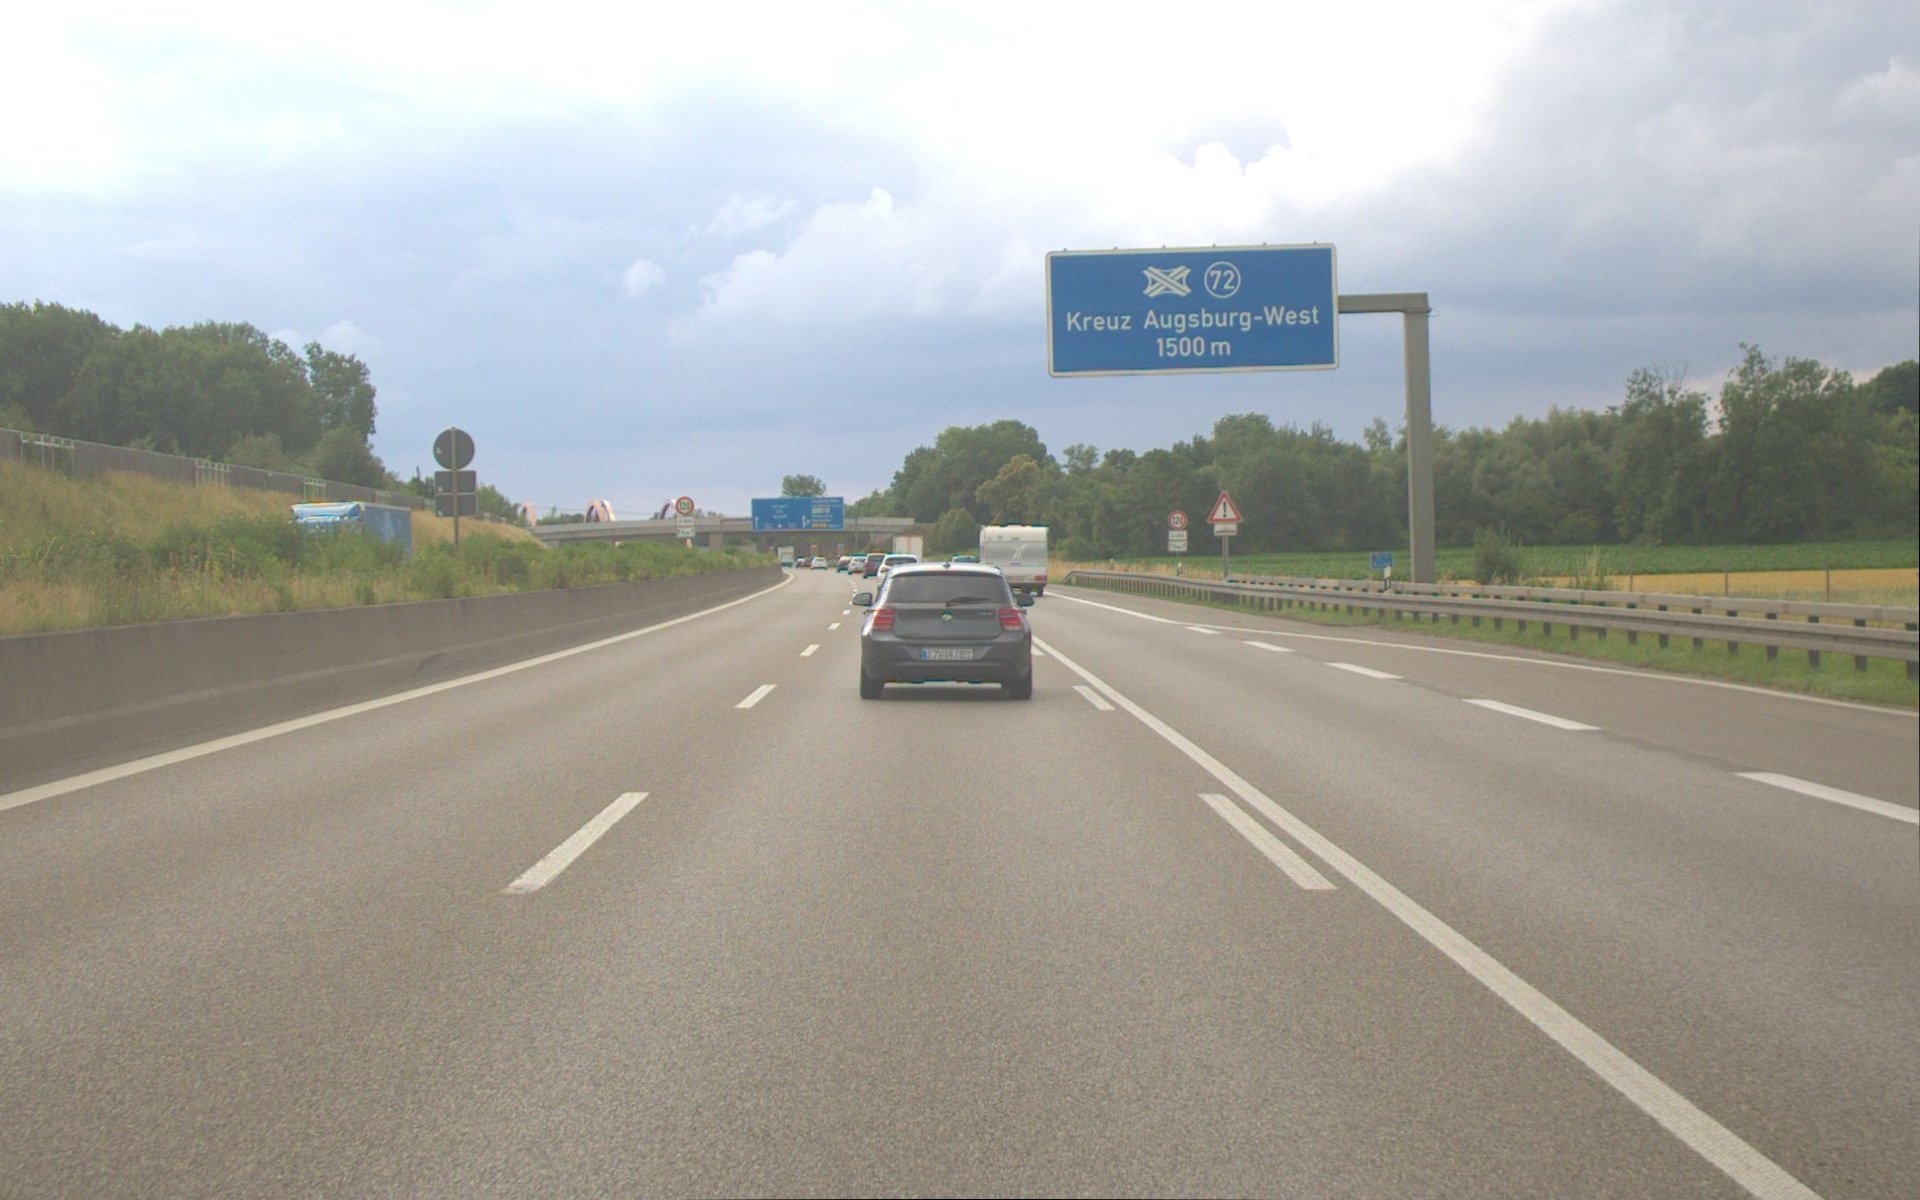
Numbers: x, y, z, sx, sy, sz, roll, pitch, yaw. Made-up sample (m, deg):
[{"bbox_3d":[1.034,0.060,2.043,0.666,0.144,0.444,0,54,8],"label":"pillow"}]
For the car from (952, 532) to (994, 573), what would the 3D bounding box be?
[{"bbox_3d":[0.640,-2.438,174.591,1.993,2.007,4.000,-1,1,-1],"label":"car"}]

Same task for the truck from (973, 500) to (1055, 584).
[{"bbox_3d":[1.927,-2.164,127.845,2.710,2.954,12.448,1,1,-1],"label":"truck"}]

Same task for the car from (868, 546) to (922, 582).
[{"bbox_3d":[-2.456,-1.376,130.119,1.993,1.293,4.000,-1,1,-1],"label":"car"}]

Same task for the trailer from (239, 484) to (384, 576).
[{"bbox_3d":[-22.391,-2.413,119.359,2.938,3.001,11.618,1,1,-1],"label":"trailer"}]

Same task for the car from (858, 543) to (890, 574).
[{"bbox_3d":[-5.601,-2.729,224.608,1.993,2.007,4.000,-1,1,-1],"label":"car"}]

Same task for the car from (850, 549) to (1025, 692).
[{"bbox_3d":[-0.233,0.175,36.404,1.743,1.384,4.000,0,1,0],"label":"car"}]
